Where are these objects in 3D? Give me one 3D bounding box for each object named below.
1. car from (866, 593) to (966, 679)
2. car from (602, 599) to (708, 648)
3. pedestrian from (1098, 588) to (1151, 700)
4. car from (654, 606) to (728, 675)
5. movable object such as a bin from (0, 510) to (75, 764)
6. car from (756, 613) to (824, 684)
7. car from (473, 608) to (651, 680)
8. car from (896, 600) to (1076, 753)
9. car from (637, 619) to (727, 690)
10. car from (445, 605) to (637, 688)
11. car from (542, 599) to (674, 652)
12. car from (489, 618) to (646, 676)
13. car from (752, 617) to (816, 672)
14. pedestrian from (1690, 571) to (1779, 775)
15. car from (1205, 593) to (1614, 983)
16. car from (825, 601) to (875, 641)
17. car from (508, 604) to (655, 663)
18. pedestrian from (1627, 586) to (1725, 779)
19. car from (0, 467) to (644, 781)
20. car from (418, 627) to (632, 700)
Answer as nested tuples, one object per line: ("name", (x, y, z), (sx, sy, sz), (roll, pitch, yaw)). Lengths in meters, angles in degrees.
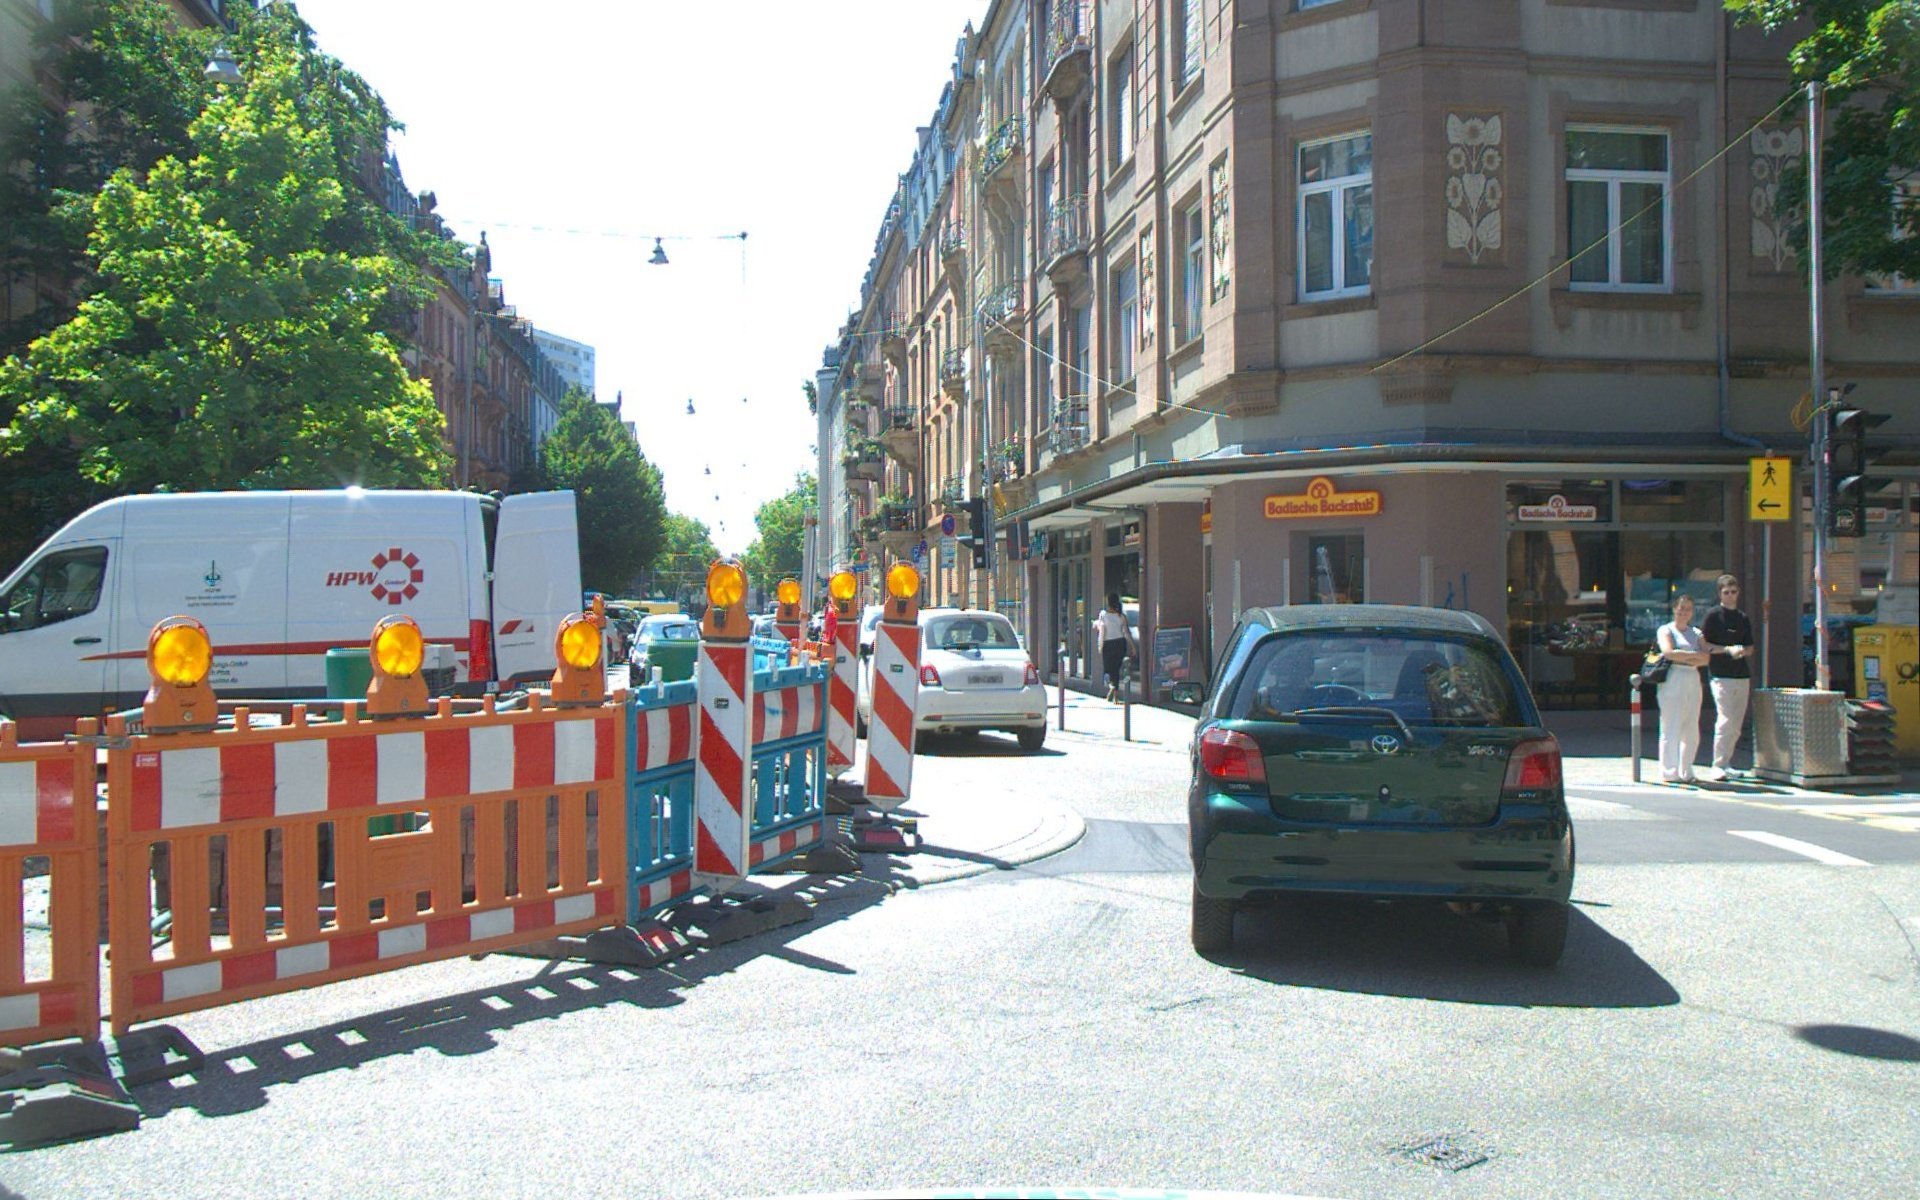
("car", (-1.055, 0.777, 37.122), (1.836, 1.743, 4.497), (-2, 0, -6))
("car", (-14.289, 1.073, 77.589), (4.518, 2.226, 1.976), (0, -1, -34))
("pedestrian", (2.482, 0.652, 25.005), (0.629, 1.652, 0.803), (0, -1, -7))
("car", (-7.306, 1.074, 45.236), (1.721, 1.674, 4.371), (-3, 0, -7))
("movable object such as a bin", (-12.518, 0.347, 18.172), (4.461, 2.706, 1.950), (1, -1, -11))
("car", (-4.169, 1.143, 40.318), (1.494, 1.620, 3.257), (0, 0, -9))
("car", (-9.843, 1.100, 40.952), (3.945, 1.687, 1.742), (2, -1, -30))
("car", (0.212, 0.788, 18.654), (1.494, 1.547, 3.257), (0, 0, -9))
("car", (-6.132, 1.168, 36.817), (1.721, 1.469, 3.994), (-1, 0, -7))
("car", (-9.726, 1.083, 38.491), (3.956, 1.836, 1.746), (2, -1, -37))
("car", (-13.913, 0.988, 65.485), (4.735, 2.029, 2.027), (0, -1, -36))
("car", (-10.755, 1.260, 45.511), (1.832, 1.496, 3.899), (-1, -1, 42))
("car", (-5.914, 1.451, 55.302), (1.956, 1.646, 3.993), (-3, 0, -7))
("pedestrian", (7.094, 0.654, 15.146), (0.565, 1.799, 0.470), (-3, 3, -15))
("car", (2.023, 0.733, 8.223), (1.579, 1.511, 3.243), (0, 0, 8))
("car", (-4.336, 0.813, 64.848), (1.721, 1.454, 3.994), (-1, 0, -7))
("car", (-11.064, 0.956, 48.514), (1.833, 1.647, 3.898), (-1, -1, 42))
("pedestrian", (6.488, 0.735, 14.992), (0.690, 1.673, 0.421), (-3, 3, -15))
("car", (-6.585, 0.250, 16.478), (6.494, 2.800, 2.376), (1, -1, -6))
("car", (-9.237, 1.334, 35.245), (3.961, 1.437, 1.943), (2, -1, -39))
